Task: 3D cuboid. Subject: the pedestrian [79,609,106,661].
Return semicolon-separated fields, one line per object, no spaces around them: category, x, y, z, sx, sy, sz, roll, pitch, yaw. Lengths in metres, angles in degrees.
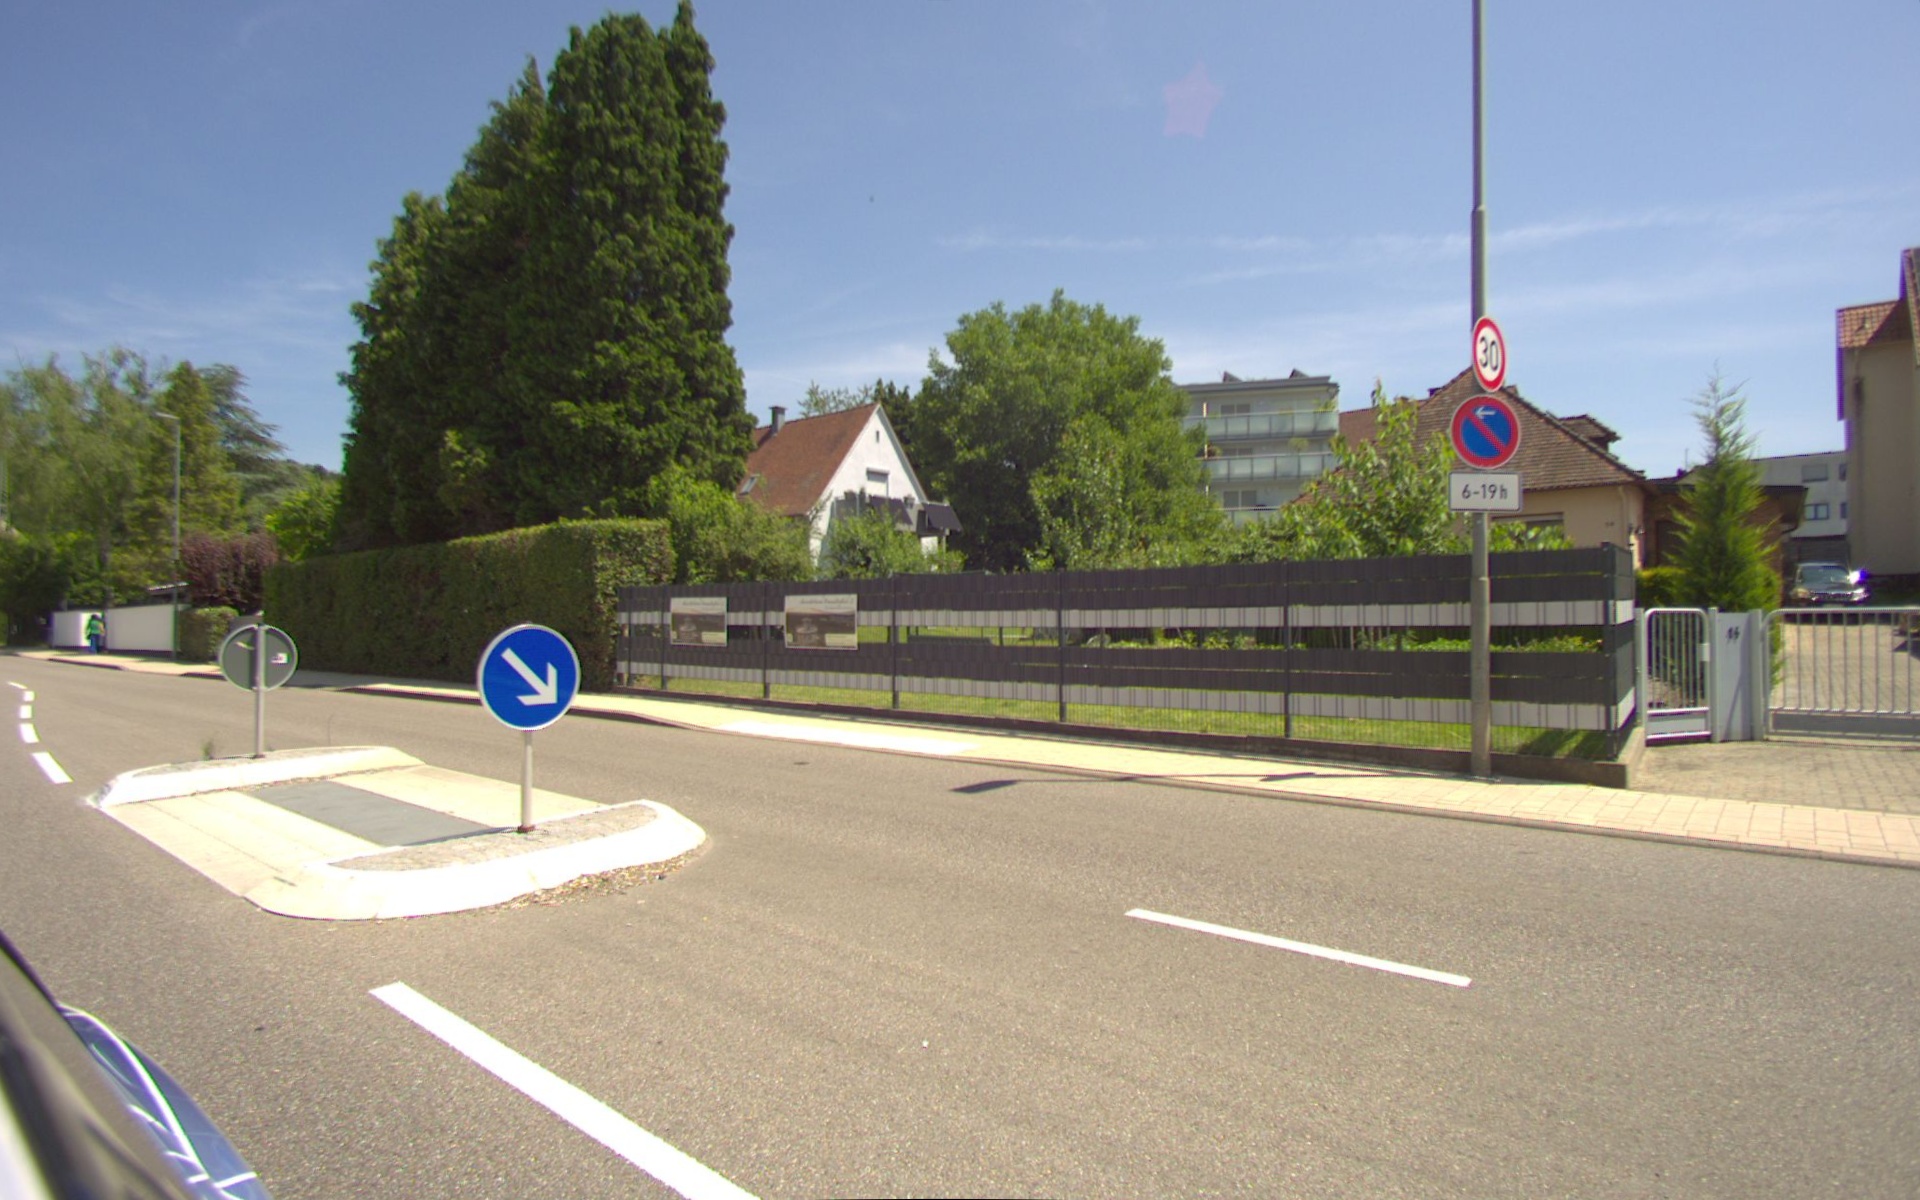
pedestrian;-34.714;1.378;40.497;0.804;2.029;0.712;0;0;44
